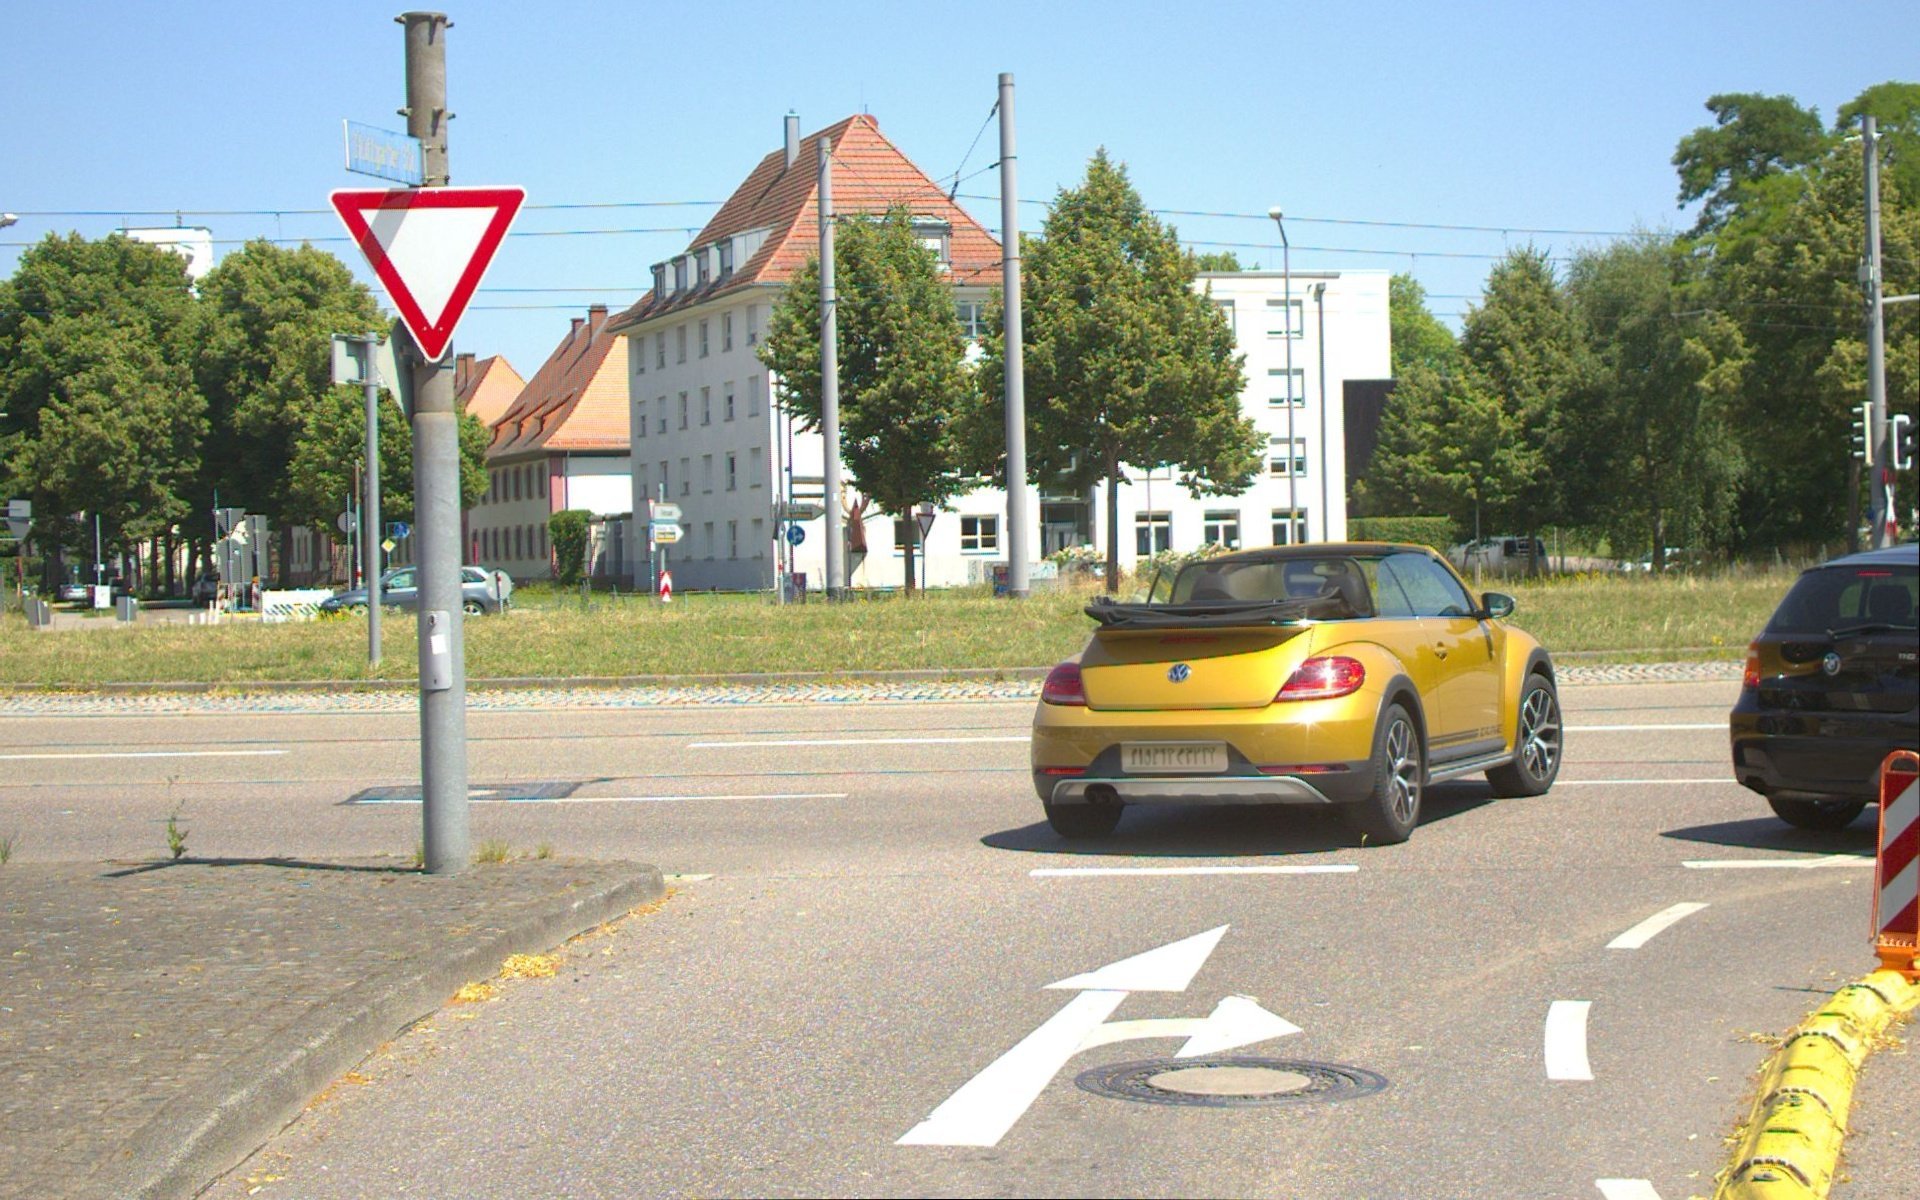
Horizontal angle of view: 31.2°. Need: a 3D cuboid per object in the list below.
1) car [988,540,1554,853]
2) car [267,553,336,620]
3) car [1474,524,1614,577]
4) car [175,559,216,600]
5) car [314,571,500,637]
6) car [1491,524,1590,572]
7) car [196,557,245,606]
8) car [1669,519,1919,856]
[{"bbox_3d":[1.707,0.407,17.639,1.828,1.398,3.657,0,1,24],"label":"car"},{"bbox_3d":[-20.163,-0.426,105.203,1.993,2.007,4.001,0,0,-12],"label":"car"},{"bbox_3d":[18.682,-1.583,110.031,3.986,1.678,2.001,0,0,-11],"label":"car"},{"bbox_3d":[-38.319,-1.031,172.385,1.993,2.007,4.001,0,0,-12],"label":"car"},{"bbox_3d":[-12.490,0.090,77.559,3.986,1.459,2.001,0,0,-14],"label":"car"},{"bbox_3d":[24.860,-2.228,147.247,3.990,2.007,1.998,0,0,16],"label":"car"},{"bbox_3d":[-31.341,-0.789,145.759,1.993,2.007,4.001,0,0,-12],"label":"car"},{"bbox_3d":[5.529,0.319,16.569,3.987,1.435,1.803,-2,2,-32],"label":"car"}]
